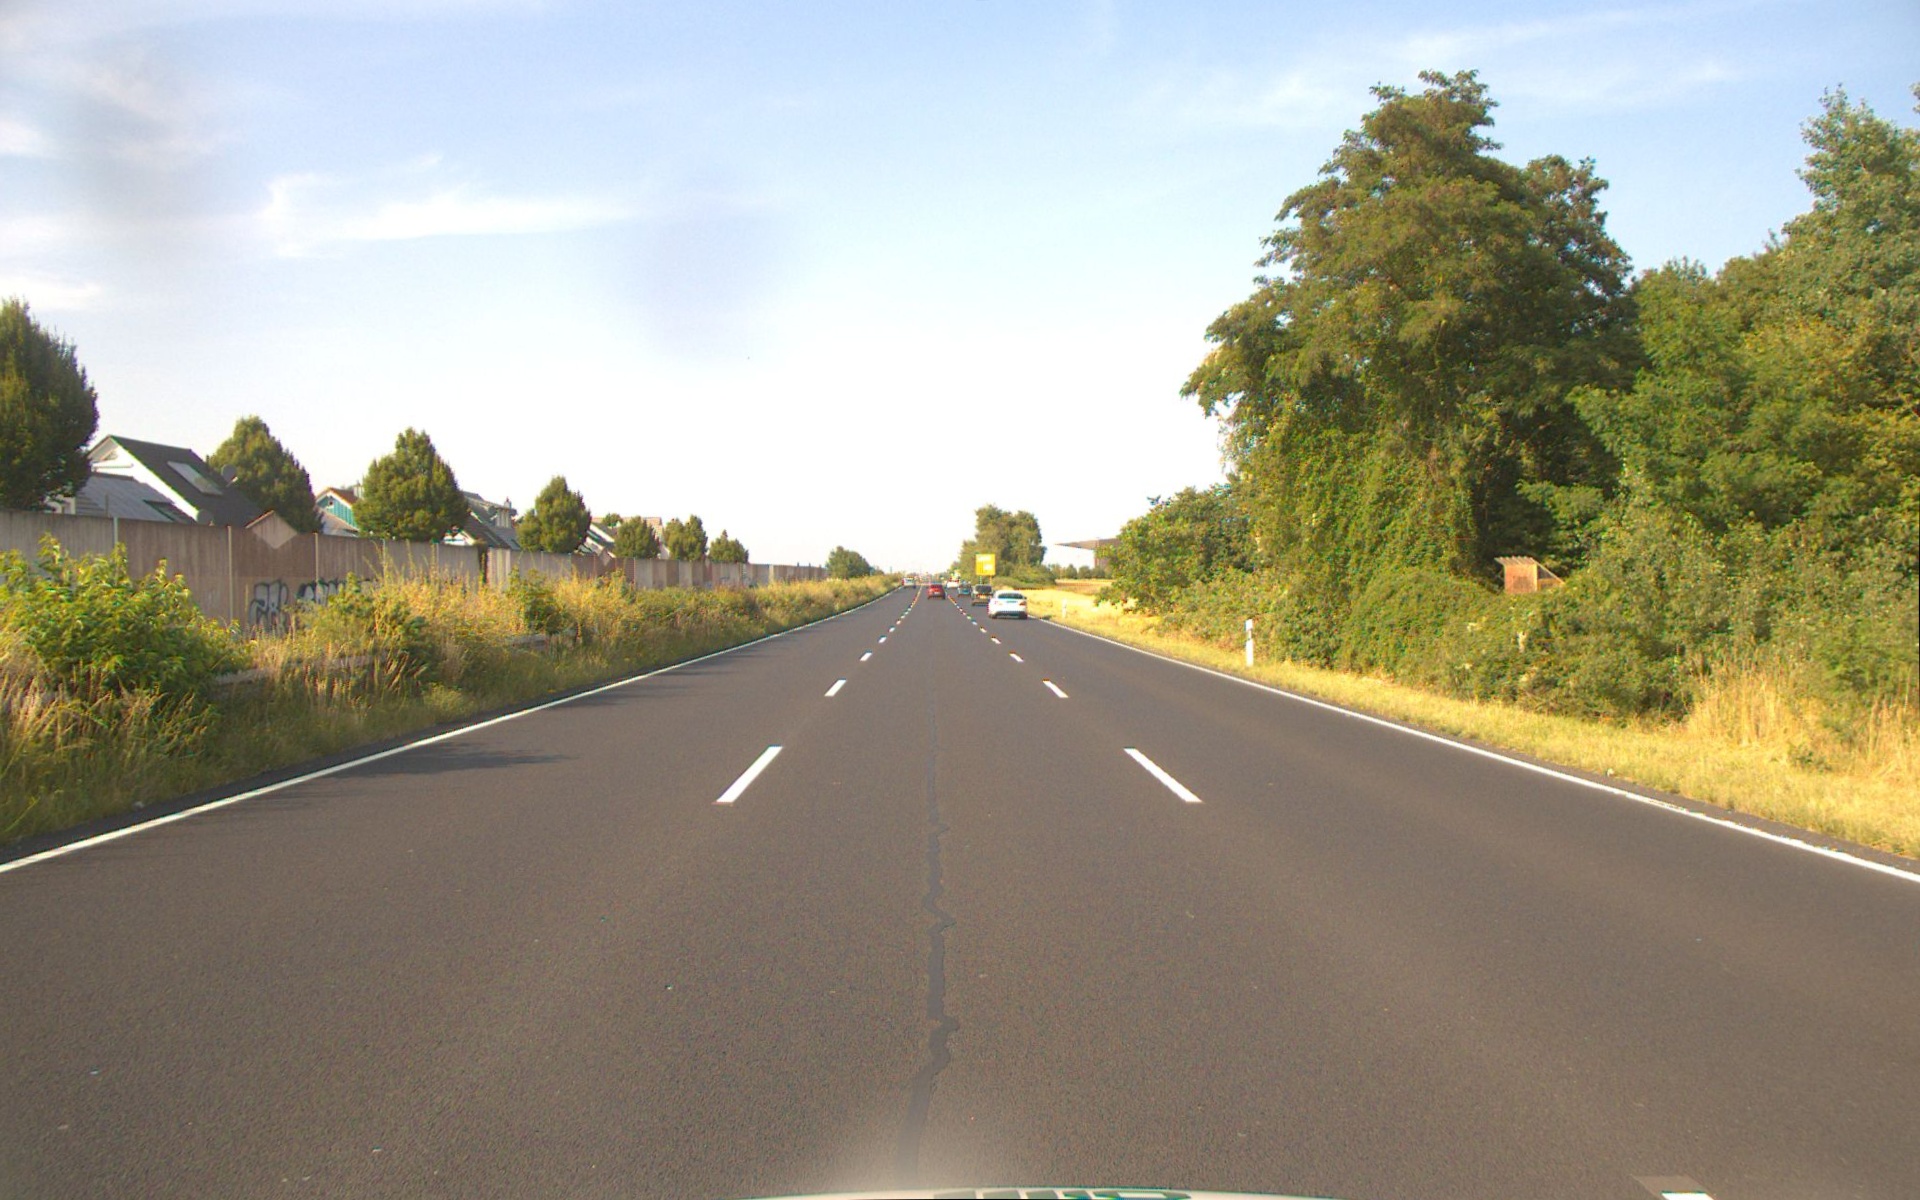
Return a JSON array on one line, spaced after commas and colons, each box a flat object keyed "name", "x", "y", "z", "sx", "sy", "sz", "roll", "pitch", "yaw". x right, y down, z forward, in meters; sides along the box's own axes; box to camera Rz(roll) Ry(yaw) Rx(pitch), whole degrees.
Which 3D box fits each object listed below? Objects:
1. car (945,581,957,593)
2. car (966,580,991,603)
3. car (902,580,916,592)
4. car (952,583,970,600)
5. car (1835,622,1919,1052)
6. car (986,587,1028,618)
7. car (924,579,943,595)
[{"name": "car", "x": -1.361, "y": -1.964, "z": 253.971, "sx": 1.809, "sy": 1.780, "sz": 3.999, "roll": 1, "pitch": 0, "yaw": -1}, {"name": "car", "x": 1.407, "y": -0.642, "z": 128.835, "sx": 1.791, "sy": 1.758, "sz": 3.999, "roll": 1, "pitch": 0, "yaw": -2}, {"name": "car", "x": -7.862, "y": -2.168, "z": 255.280, "sx": 1.953, "sy": 1.747, "sz": 3.999, "roll": 1, "pitch": 0, "yaw": -1}, {"name": "car", "x": 0.120, "y": -0.922, "z": 178.059, "sx": 1.797, "sy": 1.747, "sz": 3.861, "roll": 1, "pitch": 0, "yaw": -1}, {"name": "car", "x": 4.007, "y": 0.798, "z": 4.012, "sx": 1.584, "sy": 1.411, "sz": 3.950, "roll": 1, "pitch": 0, "yaw": -2}, {"name": "car", "x": 2.367, "y": 0.135, "z": 84.895, "sx": 1.953, "sy": 1.543, "sz": 3.999, "roll": 1, "pitch": 0, "yaw": -1}, {"name": "car", "x": -2.589, "y": -1.276, "z": 160.708, "sx": 1.775, "sy": 1.461, "sz": 3.857, "roll": 1, "pitch": 0, "yaw": -2}]
